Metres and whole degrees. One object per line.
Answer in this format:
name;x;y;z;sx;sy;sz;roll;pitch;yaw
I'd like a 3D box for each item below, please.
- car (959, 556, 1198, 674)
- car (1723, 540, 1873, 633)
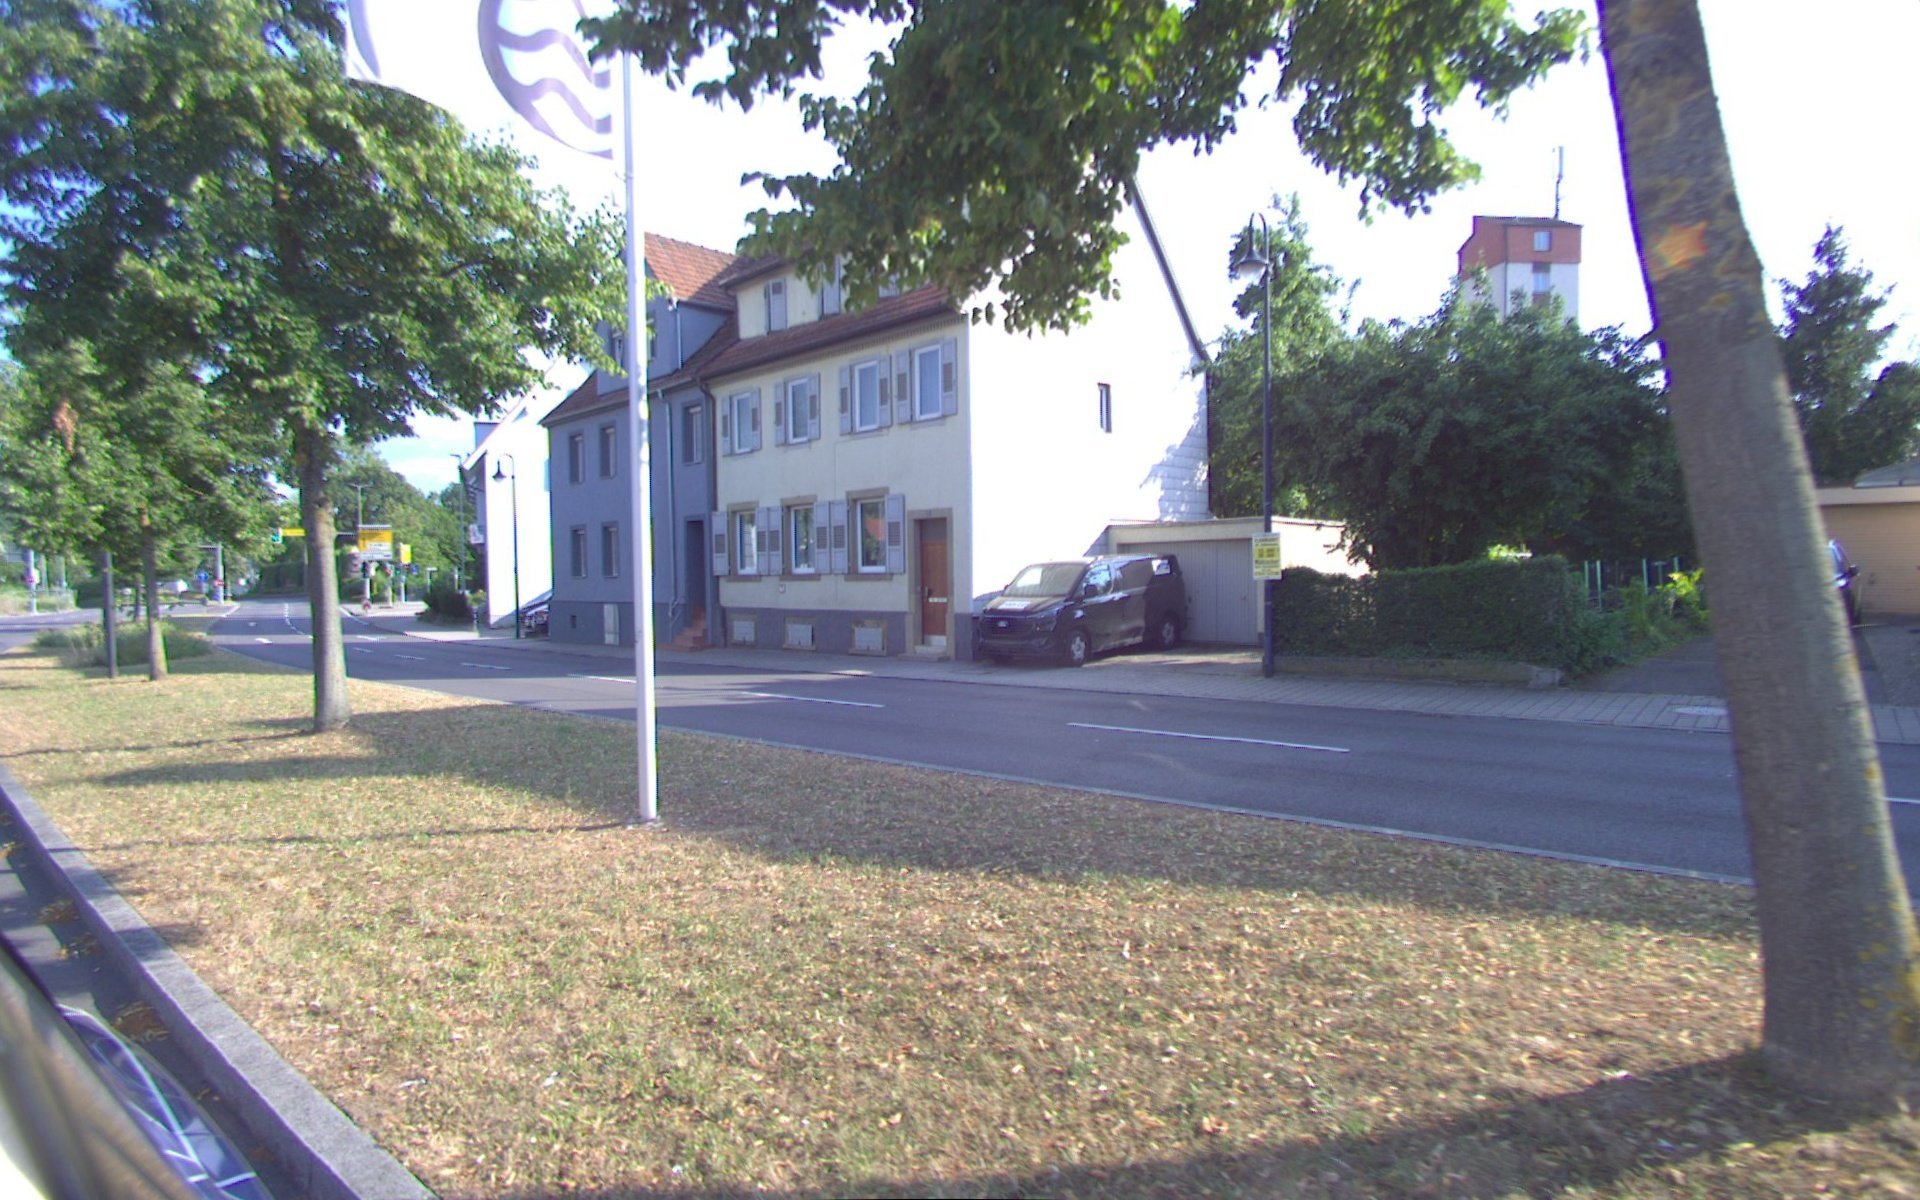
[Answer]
car;2.416;0.193;19.639;4.769;1.891;2.001;-5;2;-45
car;15.052;-0.264;18.118;3.653;1.497;1.688;-3;1;-45
